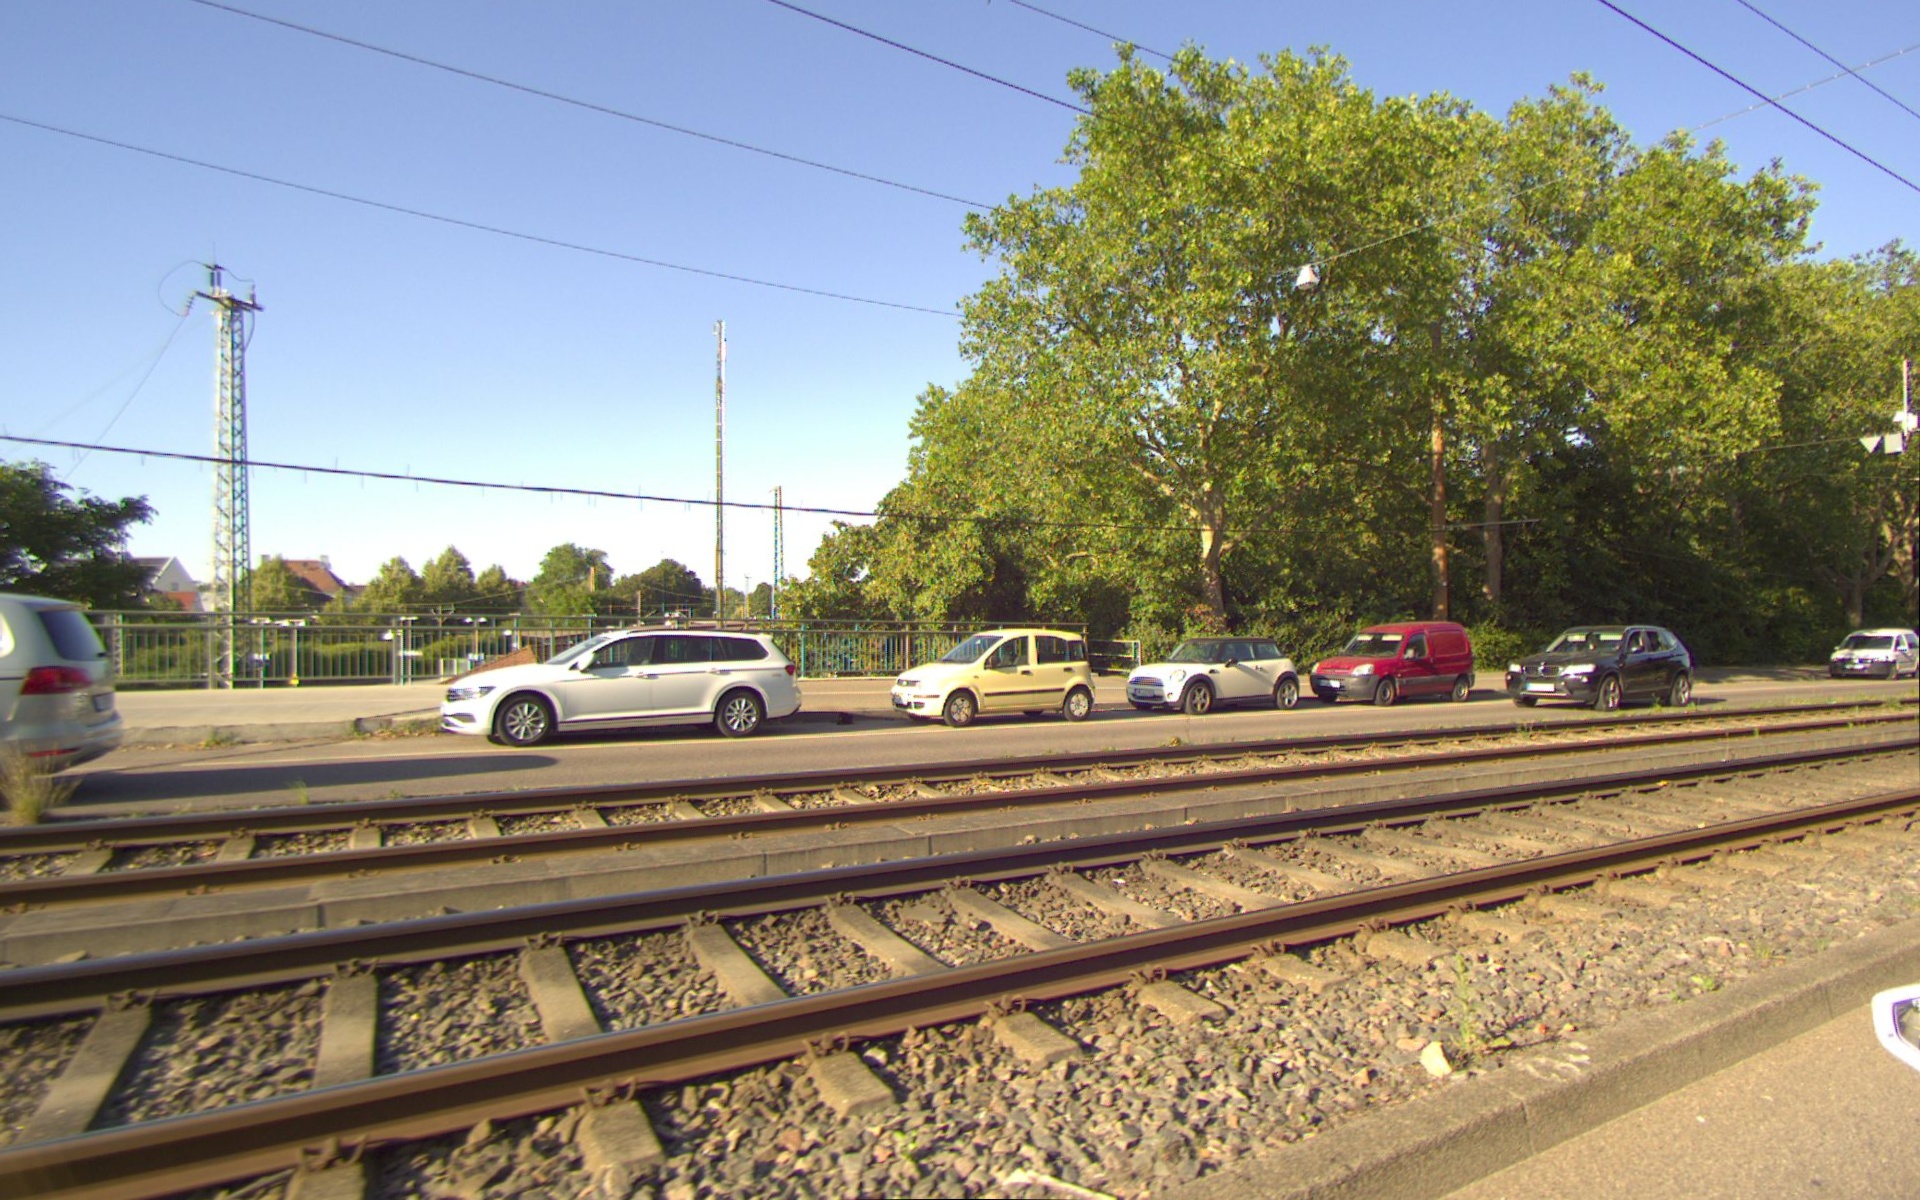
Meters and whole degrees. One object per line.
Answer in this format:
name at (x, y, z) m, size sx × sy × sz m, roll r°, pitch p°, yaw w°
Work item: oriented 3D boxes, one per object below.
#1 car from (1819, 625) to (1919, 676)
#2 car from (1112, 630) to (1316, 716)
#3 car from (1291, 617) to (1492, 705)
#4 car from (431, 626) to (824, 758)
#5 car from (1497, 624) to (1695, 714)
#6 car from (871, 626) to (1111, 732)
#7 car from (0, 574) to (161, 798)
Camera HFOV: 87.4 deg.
car at (33.387, 1.830, 36.707) m, size 4.464 × 1.766 × 1.733 m, roll 0°, pitch -4°, yaw -33°
car at (5.012, 1.355, 19.642) m, size 3.958 × 1.470 × 1.624 m, roll 1°, pitch -1°, yaw -32°
car at (9.622, 1.267, 22.292) m, size 4.630 × 1.777 × 1.733 m, roll 1°, pitch -1°, yaw -31°
car at (-4.482, 1.137, 13.858) m, size 4.899 × 1.483 × 1.733 m, roll 1°, pitch 0°, yaw -31°
car at (13.096, 1.339, 20.623) m, size 4.345 × 1.645 × 1.732 m, roll 0°, pitch -2°, yaw -32°
car at (0.547, 1.225, 16.740) m, size 3.745 × 1.551 × 1.626 m, roll 1°, pitch -1°, yaw -30°
car at (-9.108, 0.664, 7.577) m, size 4.542 × 1.687 × 1.865 m, roll 1°, pitch -2°, yaw -30°
